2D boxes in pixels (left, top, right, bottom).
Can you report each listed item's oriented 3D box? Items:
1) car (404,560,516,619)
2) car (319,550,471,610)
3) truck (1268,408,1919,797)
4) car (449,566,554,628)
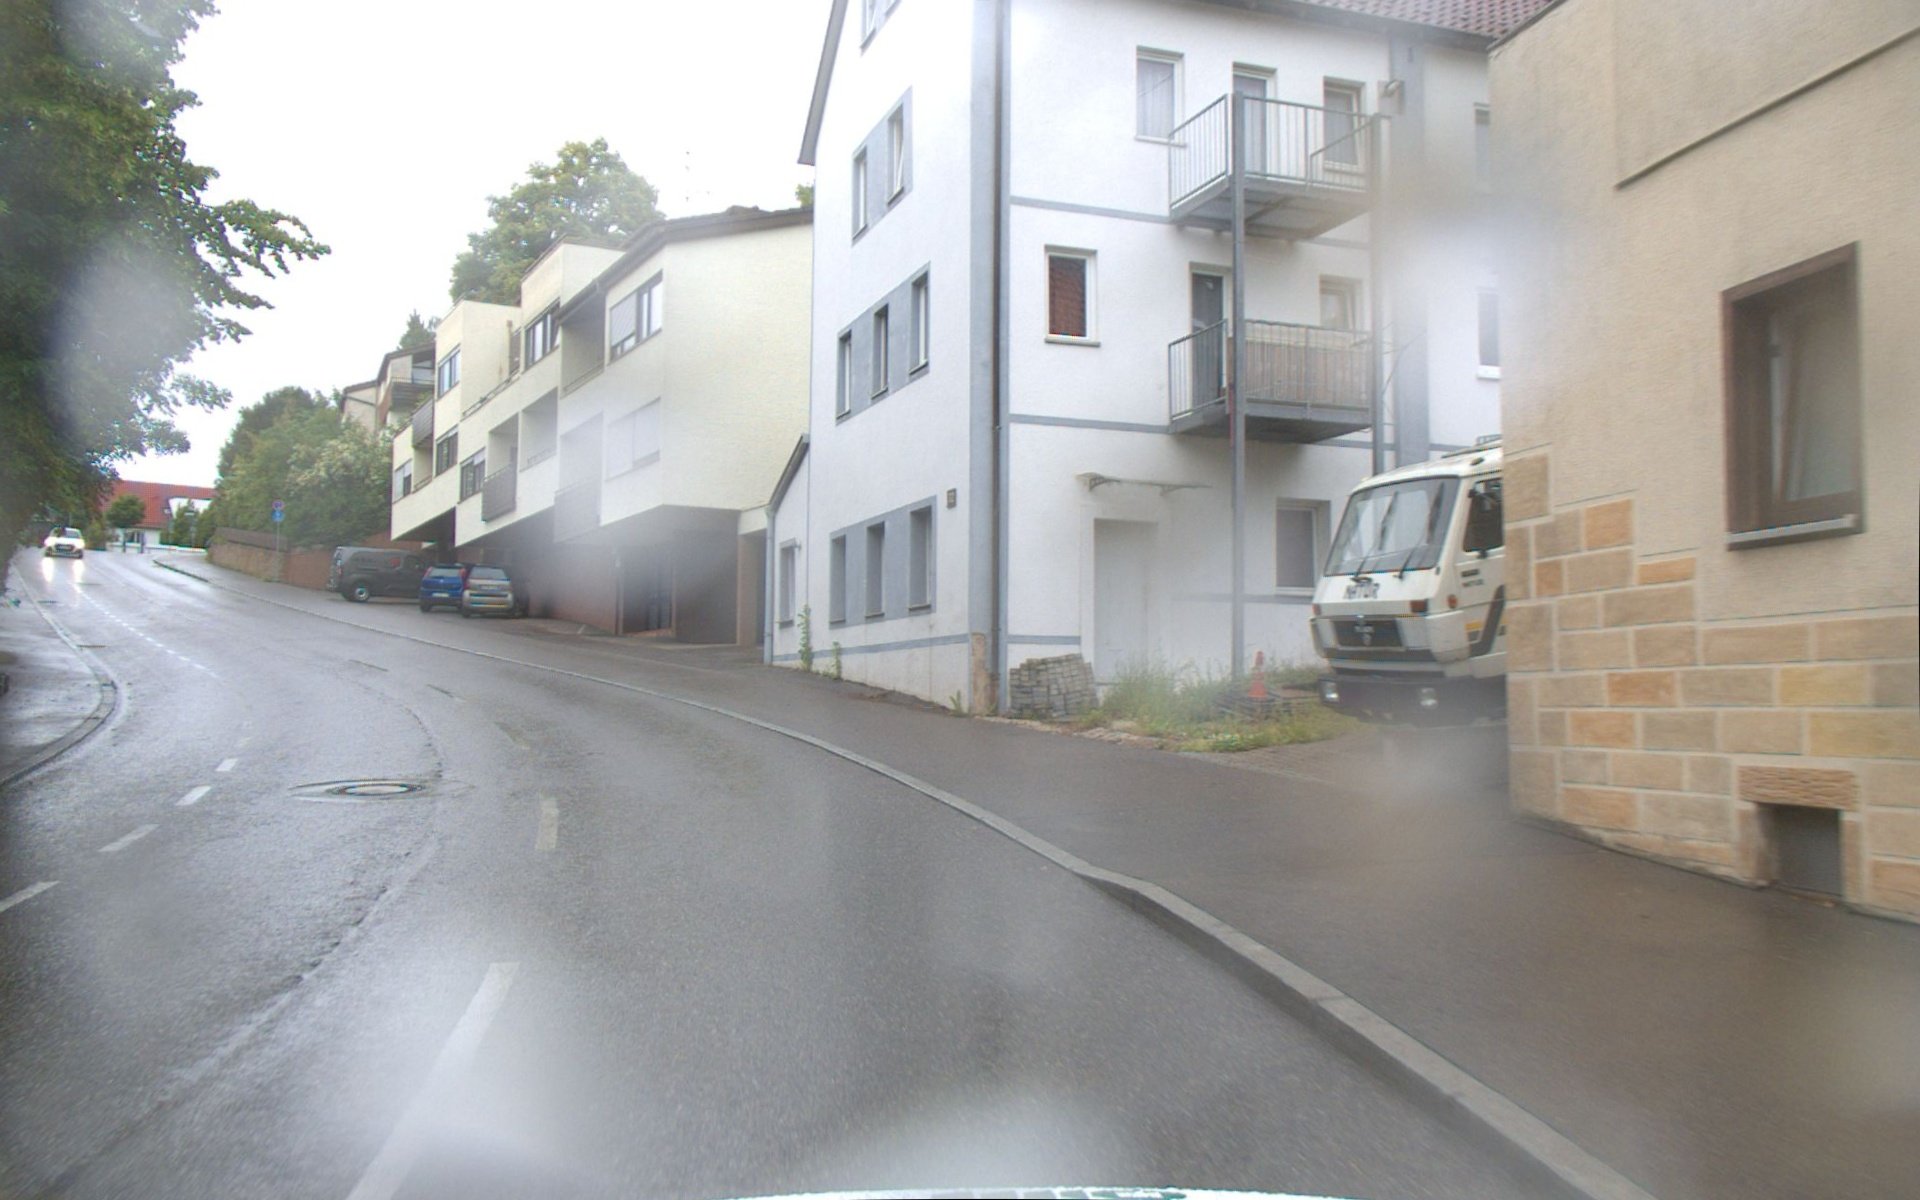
[{"bbox_3d":[-15.501,-0.299,51.486,1.744,1.606,4.069,5,0,7],"label":"car"},{"bbox_3d":[-19.594,-0.697,57.403,4.662,1.851,1.979,2,1,-32],"label":"car"},{"bbox_3d":[6.220,-0.140,14.034,6.847,2.749,2.131,-3,2,-17],"label":"truck"},{"bbox_3d":[-13.475,-0.075,48.827,1.745,1.606,4.067,5,0,1],"label":"car"}]
